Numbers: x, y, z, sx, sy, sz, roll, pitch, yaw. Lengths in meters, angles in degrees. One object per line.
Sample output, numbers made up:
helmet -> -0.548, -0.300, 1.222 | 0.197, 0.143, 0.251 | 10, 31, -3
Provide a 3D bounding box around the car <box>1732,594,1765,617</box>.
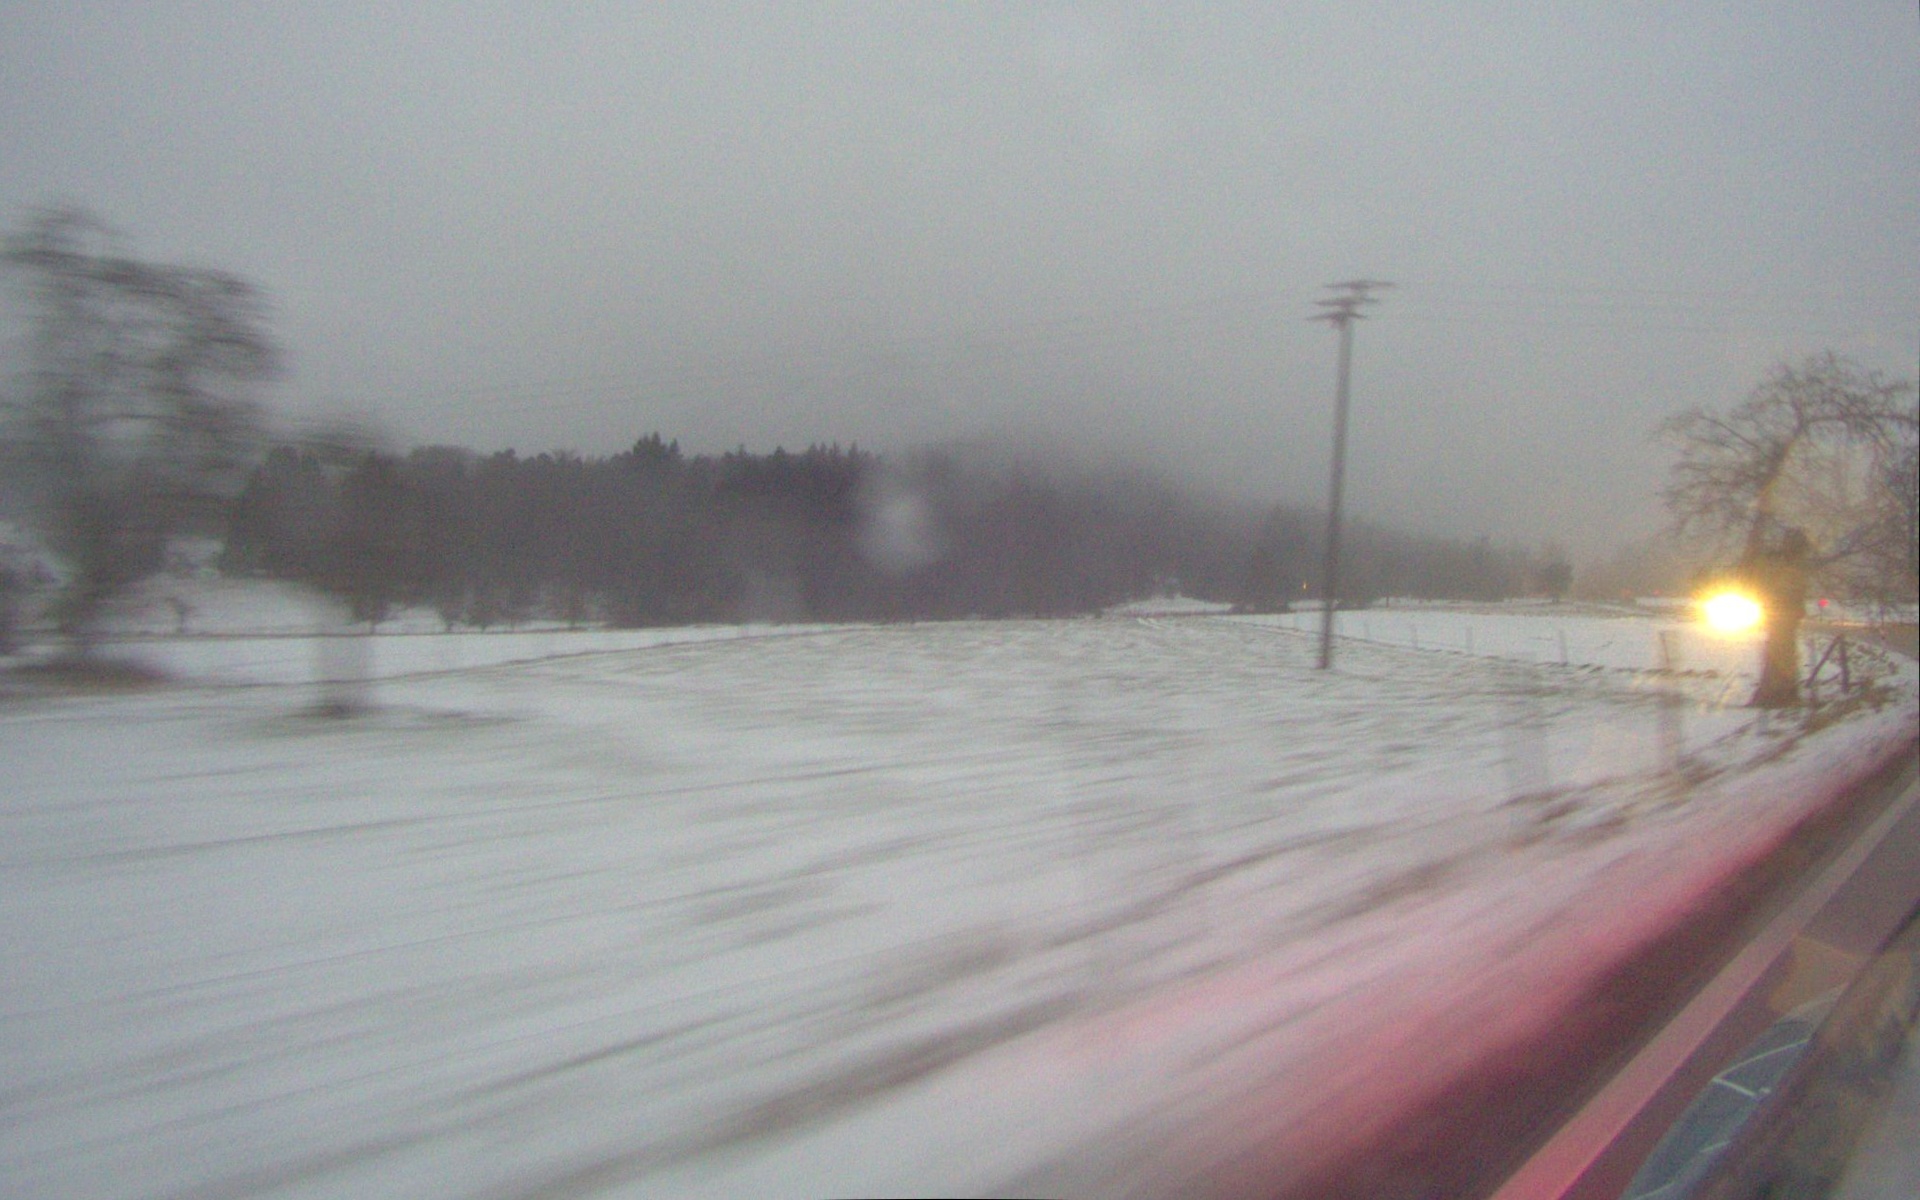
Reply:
car -> 75.239, 0.502, 96.604 | 1.984, 2.039, 3.957 | -1, 1, 31
